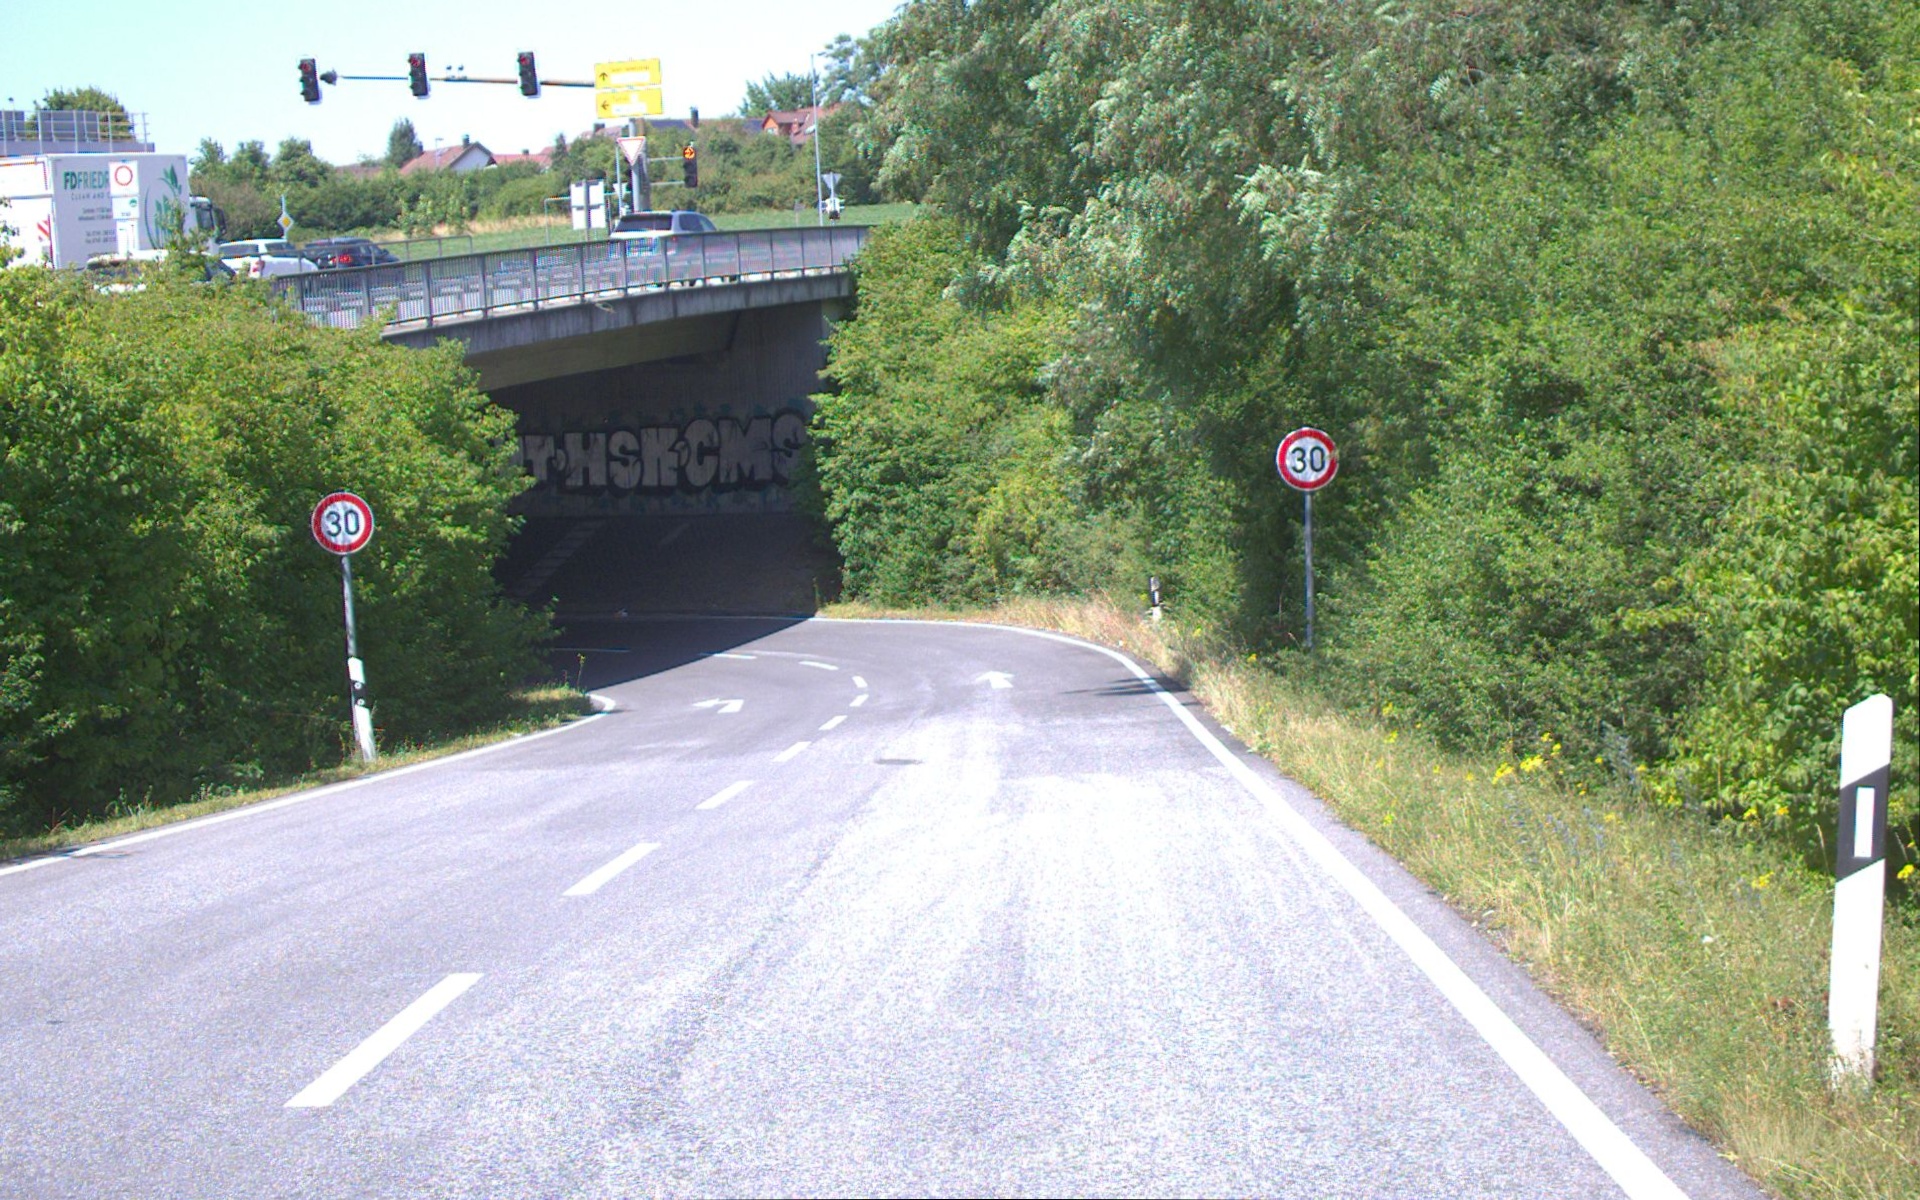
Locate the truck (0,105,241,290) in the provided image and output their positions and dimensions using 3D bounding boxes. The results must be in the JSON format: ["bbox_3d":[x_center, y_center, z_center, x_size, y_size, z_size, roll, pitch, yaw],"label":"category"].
[{"bbox_3d":[-19.412,-8.840,76.600,3.029,3.576,8.901,-3,4,13],"label":"truck"}]

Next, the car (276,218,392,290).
[{"bbox_3d":[-16.485,-9.116,90.736,1.994,1.612,4.000,-1,2,5],"label":"car"}]

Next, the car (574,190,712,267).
[{"bbox_3d":[-6.913,-8.133,75.471,1.994,1.415,4.000,-3,4,9],"label":"car"}]

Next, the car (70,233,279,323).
[{"bbox_3d":[-11.712,-4.811,51.483,1.612,1.185,3.478,-3,4,13],"label":"car"}]

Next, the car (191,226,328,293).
[{"bbox_3d":[-17.309,-8.408,85.122,1.898,1.358,3.999,-1,2,11],"label":"car"}]
